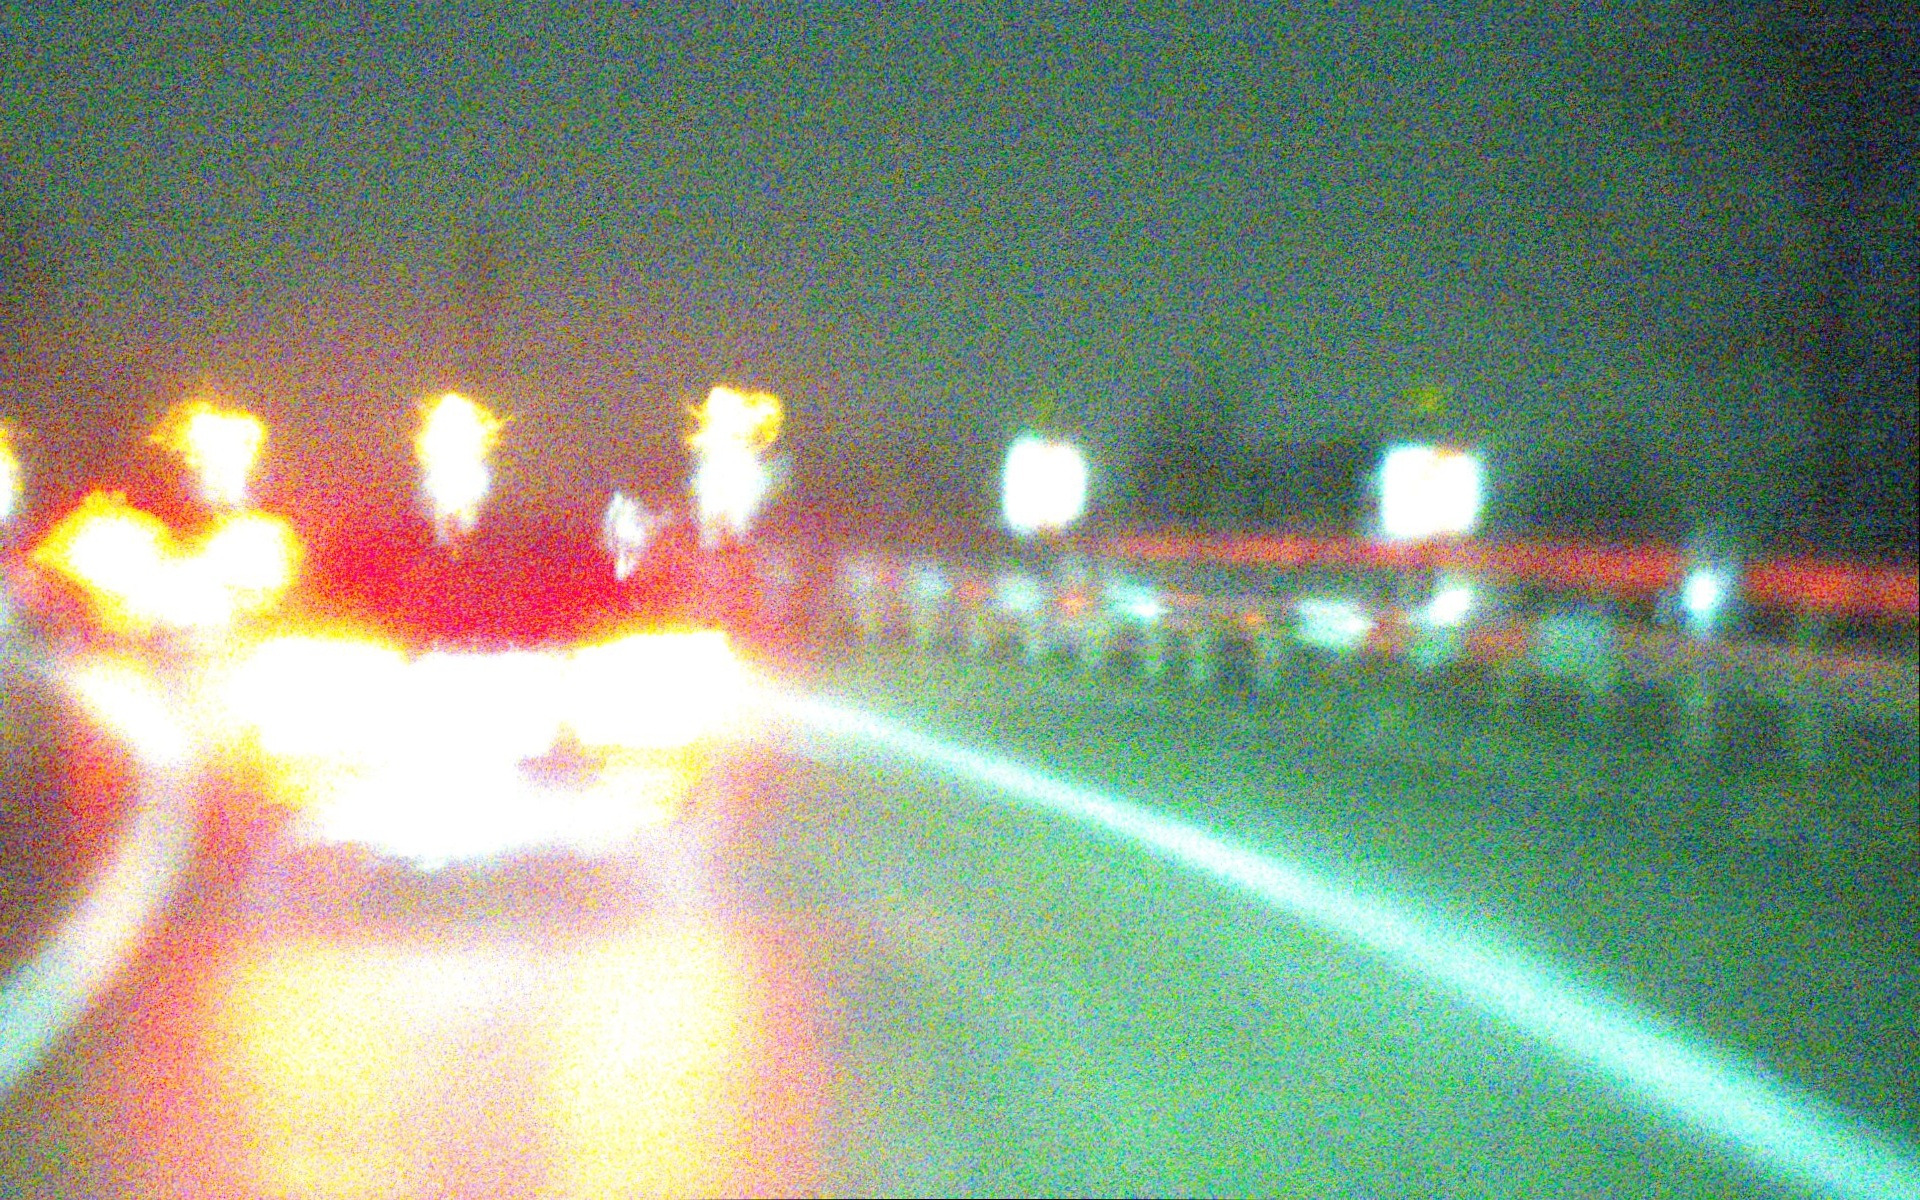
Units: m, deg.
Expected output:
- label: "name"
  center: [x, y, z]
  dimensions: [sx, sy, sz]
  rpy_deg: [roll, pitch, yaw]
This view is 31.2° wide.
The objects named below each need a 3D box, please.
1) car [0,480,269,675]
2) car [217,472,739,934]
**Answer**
- label: "car"
  center: [-7.914, -0.279, 32.659]
  dimensions: [1.895, 1.714, 4.047]
  rpy_deg: [-1, 2, -22]
- label: "car"
  center: [-2.054, 0.289, 14.443]
  dimensions: [1.860, 1.641, 4.070]
  rpy_deg: [-1, 2, -9]
